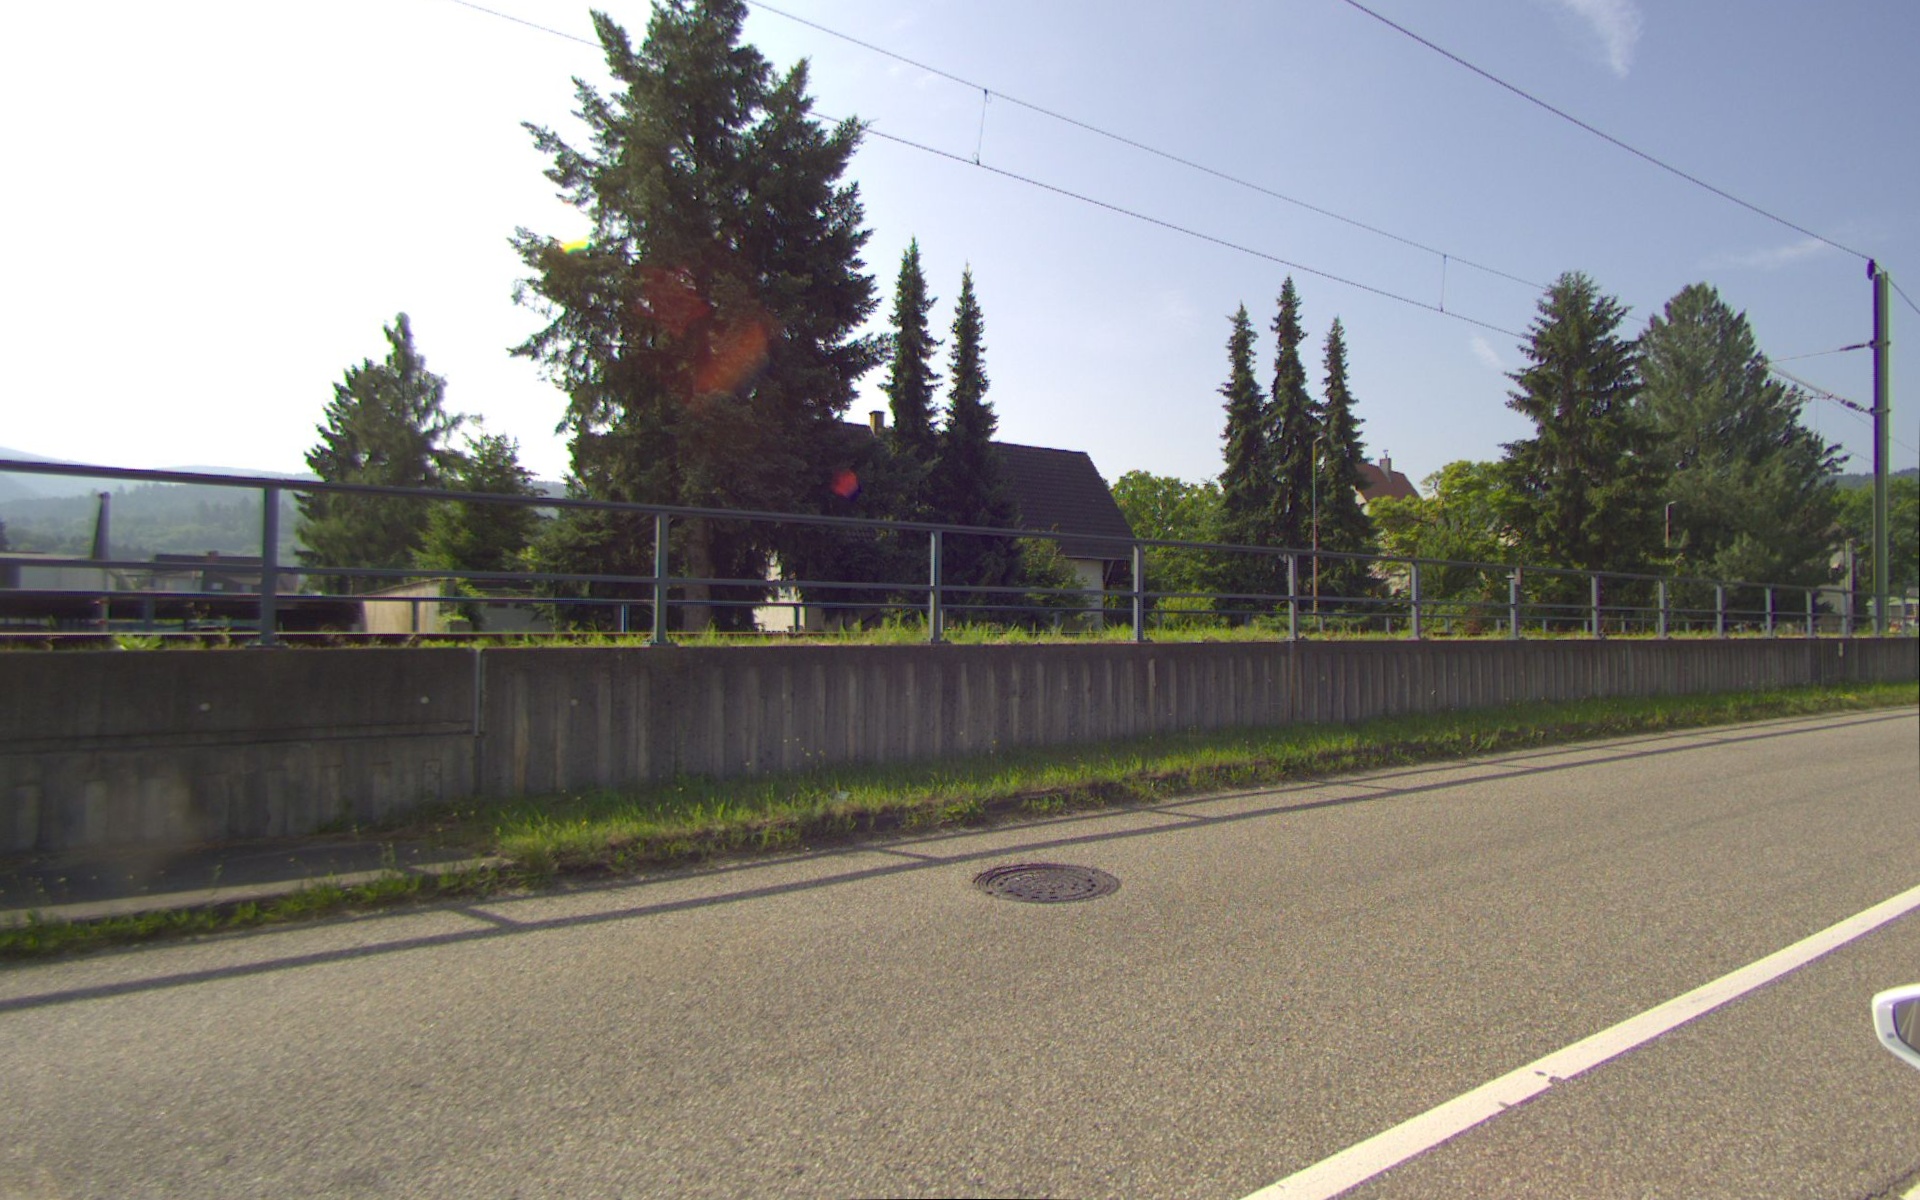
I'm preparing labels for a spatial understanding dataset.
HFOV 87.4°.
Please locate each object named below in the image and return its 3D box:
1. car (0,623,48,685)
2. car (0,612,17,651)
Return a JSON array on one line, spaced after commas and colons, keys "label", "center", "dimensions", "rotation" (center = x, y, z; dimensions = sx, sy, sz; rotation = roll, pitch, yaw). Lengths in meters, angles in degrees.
[{"label": "car", "center": [-28.191, 1.549, 29.521], "dimensions": [1.803, 1.687, 3.955], "rotation": [1, -1, -39]}, {"label": "car", "center": [-43.024, 1.353, 44.291], "dimensions": [1.803, 1.687, 3.955], "rotation": [1, -1, -39]}]
